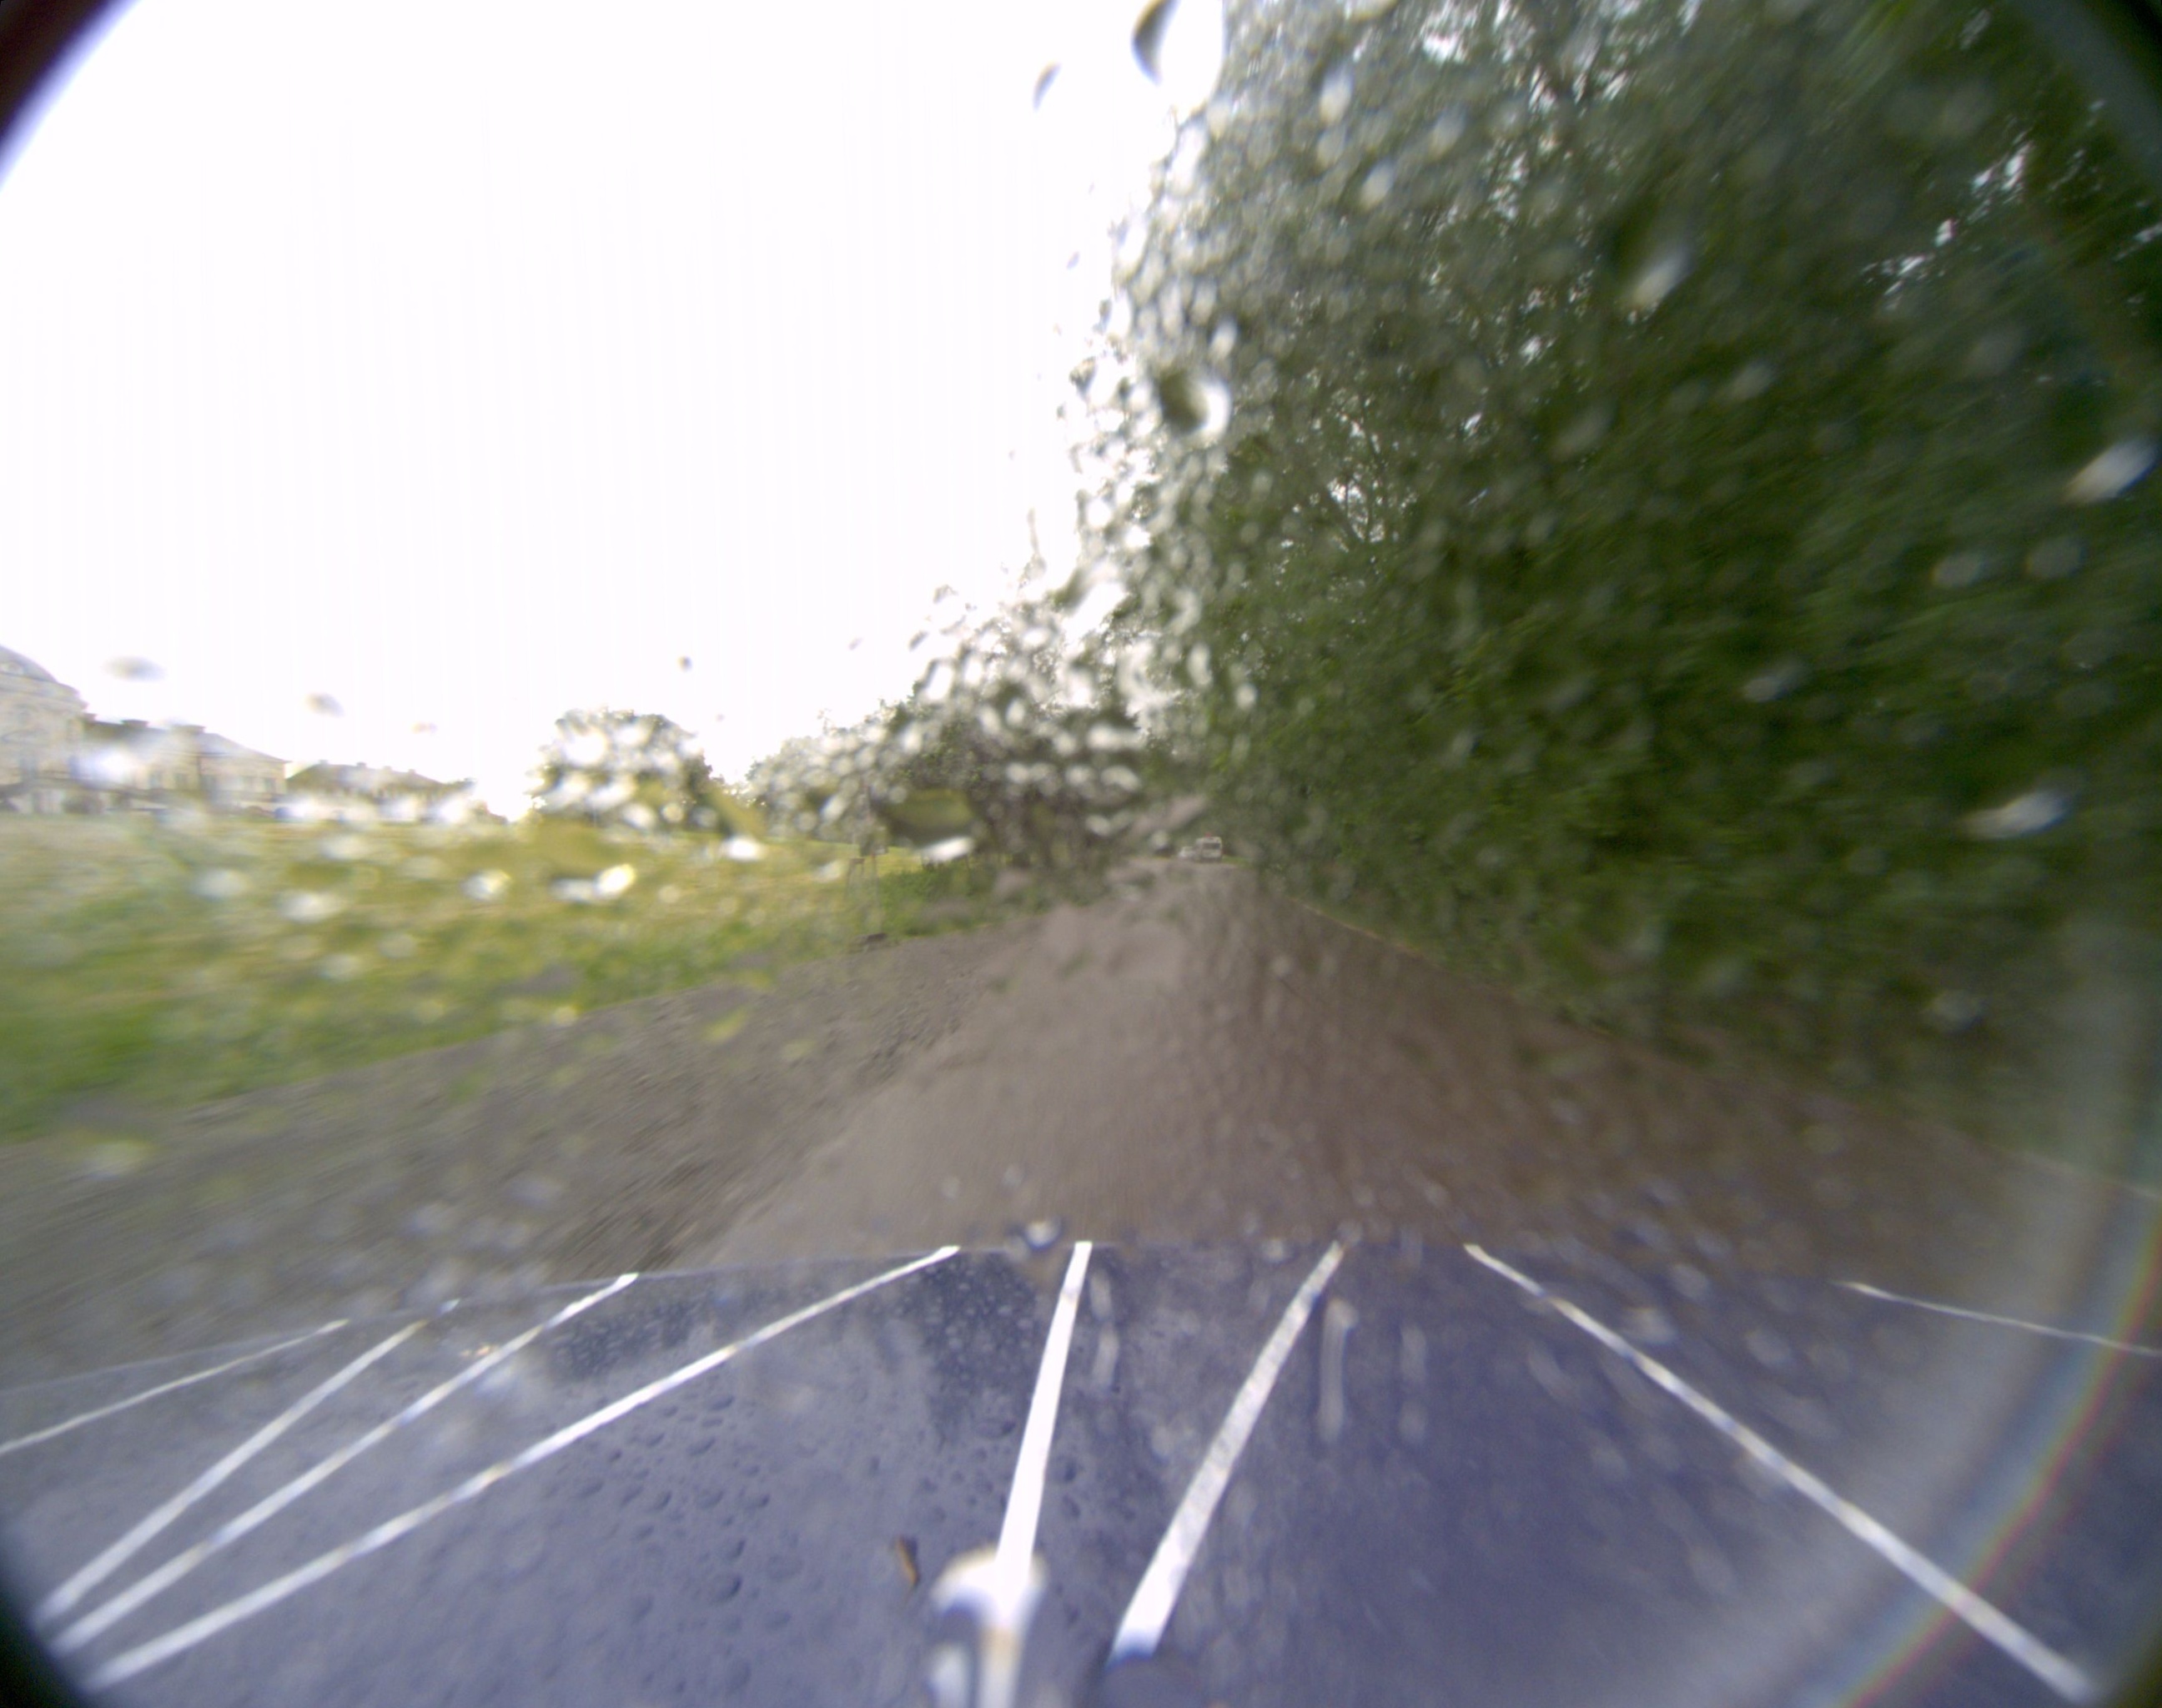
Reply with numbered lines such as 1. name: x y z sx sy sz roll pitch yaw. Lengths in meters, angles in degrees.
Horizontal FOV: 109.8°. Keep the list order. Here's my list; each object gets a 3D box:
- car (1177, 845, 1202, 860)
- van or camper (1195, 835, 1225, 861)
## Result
1. car: 12.109 -0.154 85.181 2.103 1.571 4.557 0 0 0
2. van or camper: 12.663 -0.604 74.991 2.202 2.501 4.836 0 0 0
